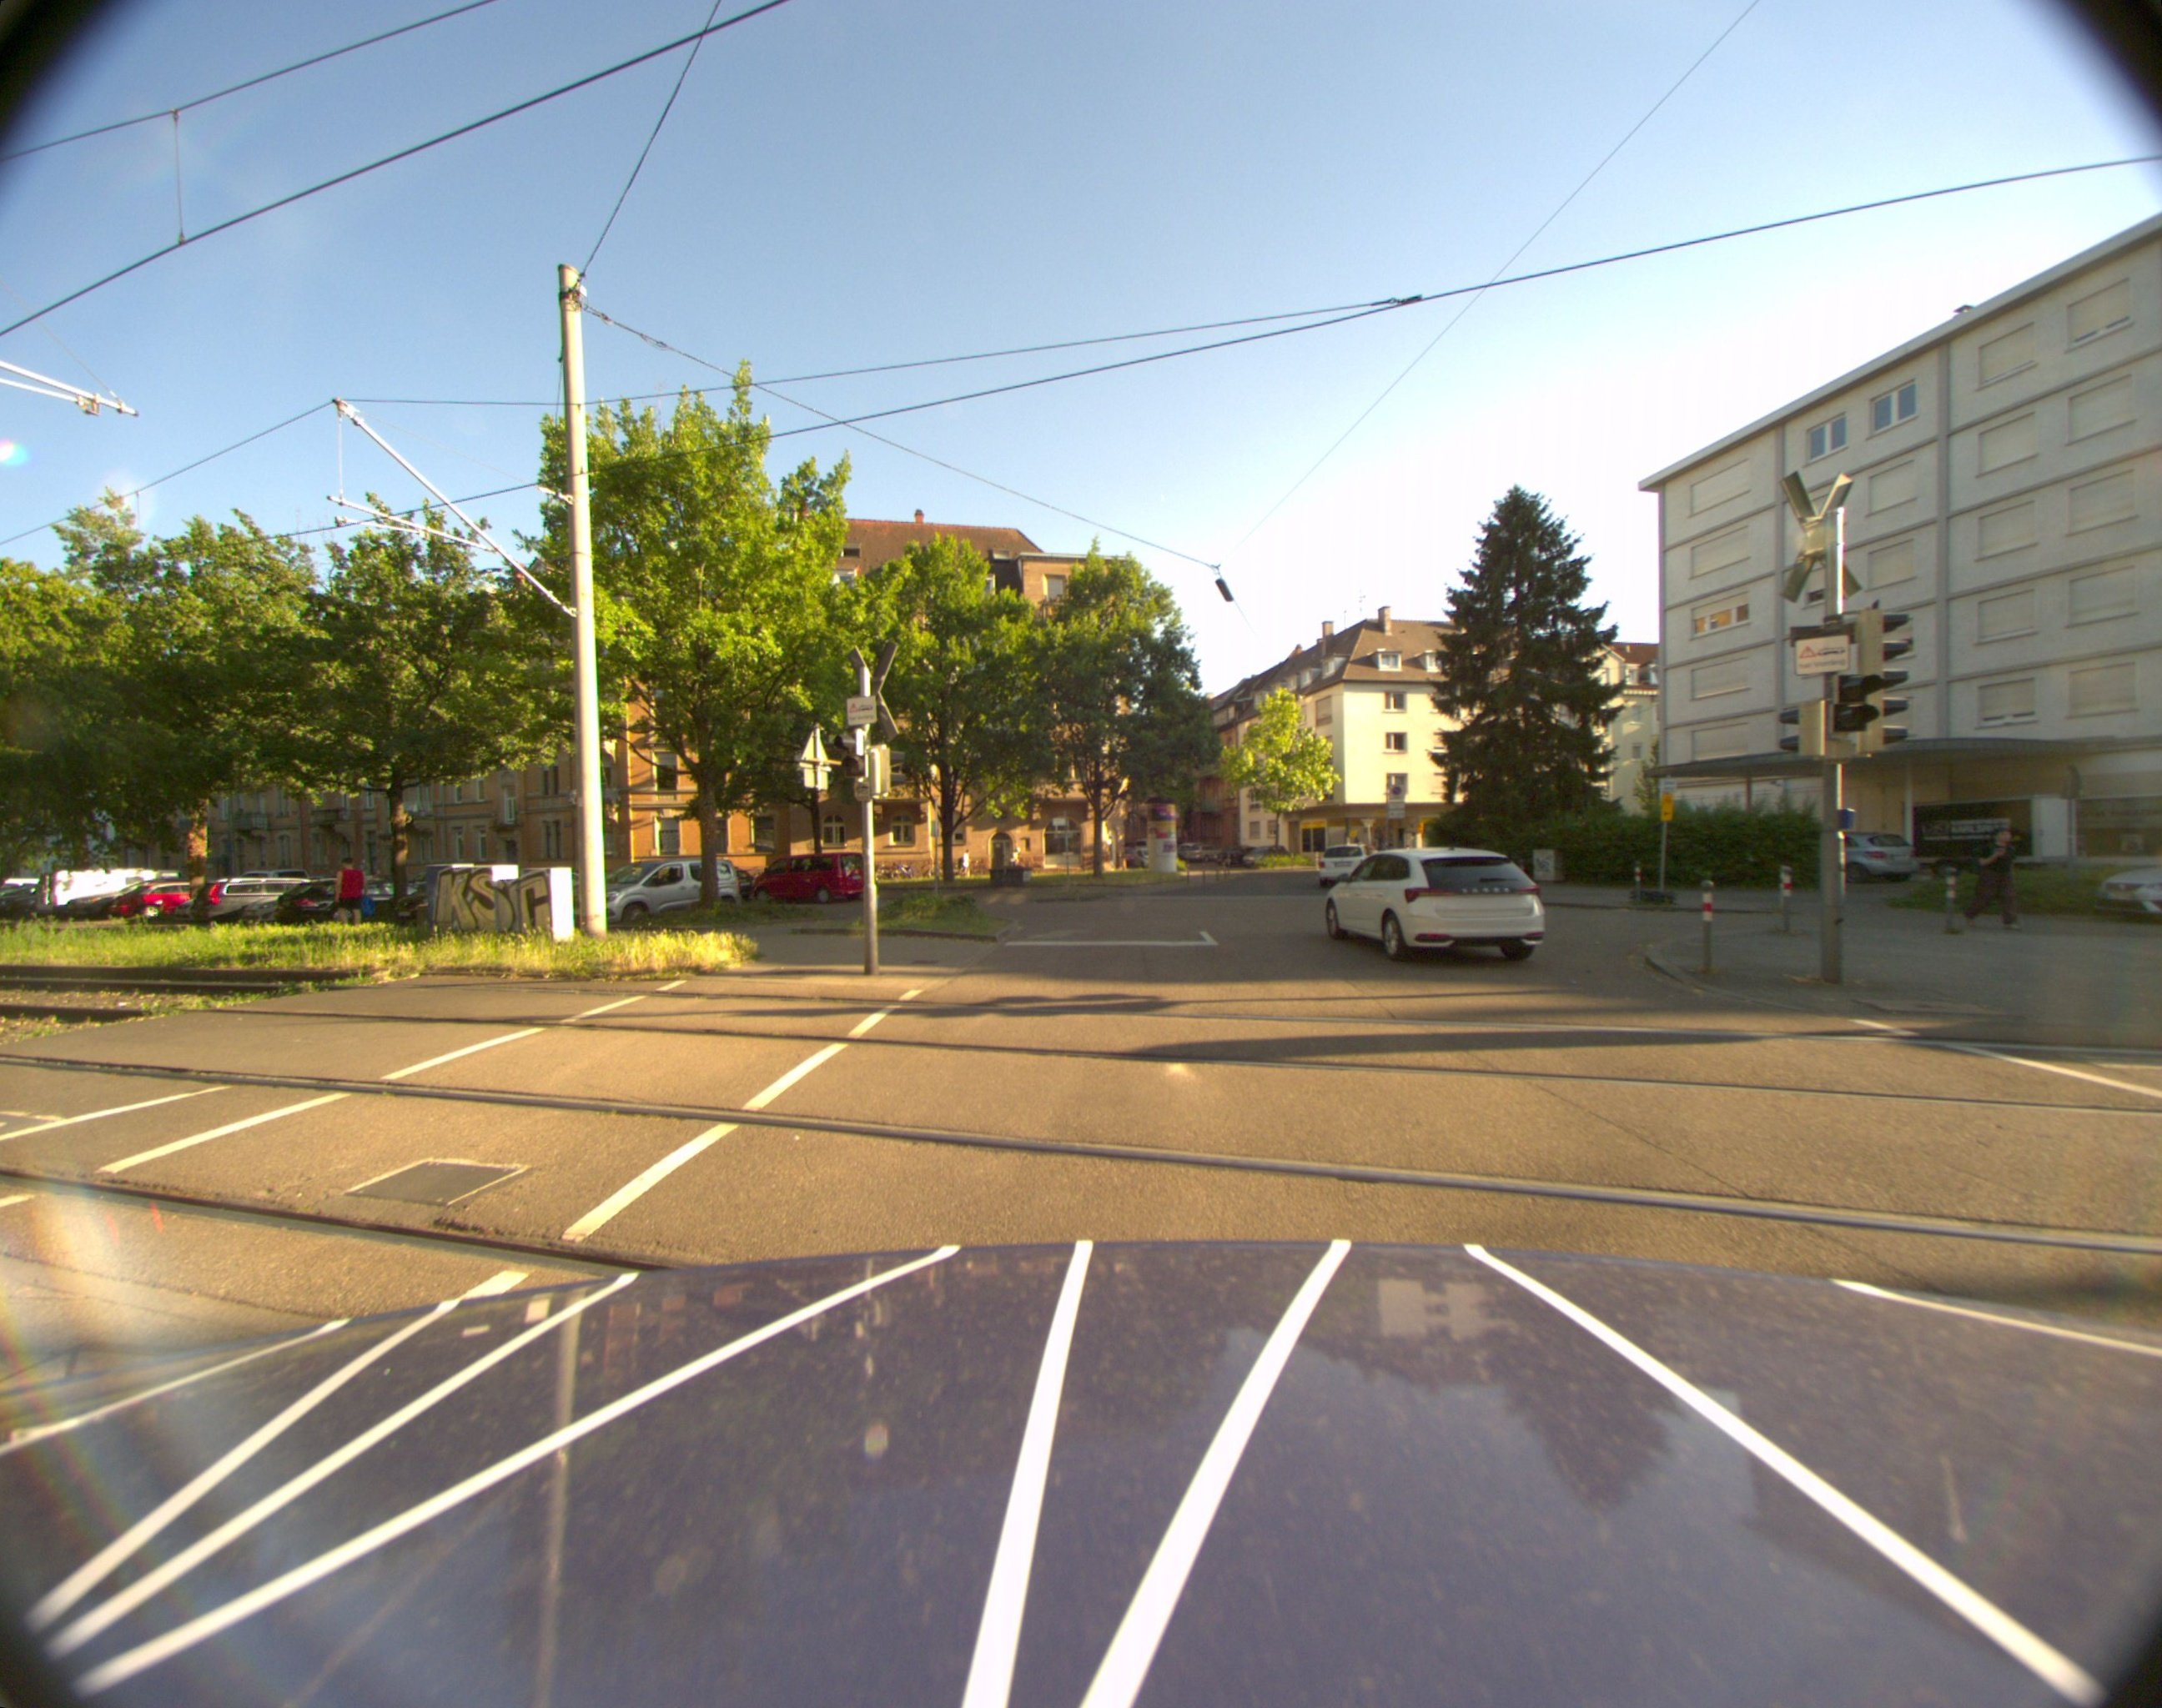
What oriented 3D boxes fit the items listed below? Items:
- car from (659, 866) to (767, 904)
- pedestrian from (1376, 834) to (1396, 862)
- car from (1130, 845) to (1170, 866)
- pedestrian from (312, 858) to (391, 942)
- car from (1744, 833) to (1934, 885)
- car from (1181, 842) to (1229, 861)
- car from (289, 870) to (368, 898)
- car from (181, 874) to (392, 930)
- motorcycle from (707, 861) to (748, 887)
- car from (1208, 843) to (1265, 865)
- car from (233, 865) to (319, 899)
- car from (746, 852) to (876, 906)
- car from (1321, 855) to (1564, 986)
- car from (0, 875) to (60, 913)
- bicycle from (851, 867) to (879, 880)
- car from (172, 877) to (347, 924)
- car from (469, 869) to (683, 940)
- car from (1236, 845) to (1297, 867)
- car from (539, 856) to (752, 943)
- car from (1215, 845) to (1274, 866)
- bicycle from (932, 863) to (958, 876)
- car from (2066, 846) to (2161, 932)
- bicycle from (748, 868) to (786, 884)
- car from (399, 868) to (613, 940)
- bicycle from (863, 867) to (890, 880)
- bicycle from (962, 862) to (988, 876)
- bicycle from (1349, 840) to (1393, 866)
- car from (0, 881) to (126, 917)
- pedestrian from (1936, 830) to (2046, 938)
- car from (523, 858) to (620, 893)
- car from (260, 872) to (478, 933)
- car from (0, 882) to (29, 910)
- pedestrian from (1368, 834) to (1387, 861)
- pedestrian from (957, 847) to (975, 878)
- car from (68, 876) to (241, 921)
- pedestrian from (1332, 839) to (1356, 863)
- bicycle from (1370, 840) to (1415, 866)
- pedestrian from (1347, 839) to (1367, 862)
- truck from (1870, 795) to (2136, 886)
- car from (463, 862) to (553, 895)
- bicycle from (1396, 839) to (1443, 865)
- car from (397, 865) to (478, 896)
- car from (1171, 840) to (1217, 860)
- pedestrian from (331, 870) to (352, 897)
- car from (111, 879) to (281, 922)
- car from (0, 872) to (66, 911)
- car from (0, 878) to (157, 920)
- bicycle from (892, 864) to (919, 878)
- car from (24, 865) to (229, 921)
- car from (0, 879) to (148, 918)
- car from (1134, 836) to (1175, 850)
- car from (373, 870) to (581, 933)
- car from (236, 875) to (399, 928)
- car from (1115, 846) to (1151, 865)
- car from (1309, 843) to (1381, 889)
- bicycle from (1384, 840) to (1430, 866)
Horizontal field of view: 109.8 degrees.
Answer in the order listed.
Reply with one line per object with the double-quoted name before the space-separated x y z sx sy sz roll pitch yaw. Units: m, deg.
"car" -15.767 1.312 32.553 4.260 1.426 1.784 -1 3 25
"pedestrian" 20.977 -0.416 52.255 0.891 1.864 0.851 -2 1 -11
"car" 4.917 0.117 54.402 1.874 1.392 3.996 -2 1 -10
"pedestrian" -17.261 1.062 17.995 1.147 1.907 0.906 -1 1 23
"car" 24.497 0.131 24.789 2.000 1.524 3.997 -2 1 -8
"car" 10.615 -0.230 65.106 4.007 1.496 1.868 -2 1 -40
"car" -43.479 1.716 43.911 3.879 1.430 1.771 -1 3 23
"car" -27.801 1.593 26.816 1.995 1.563 4.723 0 1 25
"motorcycle" -19.742 1.090 42.477 1.899 1.345 0.809 -2 1 -13
"car" 12.160 -0.019 59.280 4.005 1.559 1.869 -2 1 -26
"car" -48.713 1.694 45.965 4.714 1.872 1.915 -1 3 23
"car" -10.718 0.977 30.126 4.761 1.923 1.784 -1 3 22
"car" 4.834 0.782 10.849 1.706 1.448 4.063 -1 0 3
"car" -54.840 2.032 38.106 1.680 1.821 4.006 -1 0 23
"bicycle" -12.528 1.133 44.017 1.511 0.728 0.368 -2 1 -13
"car" -30.008 1.665 27.917 1.680 1.452 4.006 -1 0 23
"car" -13.821 1.291 21.133 1.945 1.563 4.561 0 1 25
"car" 13.131 0.137 53.748 4.005 1.392 1.869 -2 1 -28
"car" -11.301 1.070 20.120 1.945 1.903 4.561 0 1 25
"car" 12.030 0.076 55.962 4.005 1.392 1.869 -2 1 -28
"bicycle" -8.109 0.927 45.230 1.511 0.728 0.368 -2 1 -13
"car" 20.526 0.558 13.130 3.991 1.437 1.718 -1 0 18
"bicycle" -17.798 1.239 43.099 1.899 0.843 0.525 -2 1 -13
"car" -16.340 1.329 21.891 1.945 1.681 4.457 0 1 25
"bicycle" -11.782 1.115 43.790 1.511 0.728 0.368 -2 1 -13
"bicycle" -6.356 0.905 45.505 1.511 0.728 0.368 -3 2 -13
"bicycle" 17.021 -0.065 44.706 0.881 1.437 3.376 -2 2 -8
"car" -47.972 2.063 35.387 1.680 1.480 4.006 -1 0 23
"pedestrian" 15.220 0.473 12.745 0.869 1.726 0.832 -1 3 22
"car" -24.134 1.031 35.978 4.260 1.467 1.784 -1 3 25
"car" -22.887 1.467 24.686 1.995 1.563 4.723 0 1 25
"car" -59.741 2.301 40.468 1.680 1.480 4.006 -1 0 23
"pedestrian" 20.694 -0.446 53.093 0.891 1.864 0.851 -2 1 -11
"pedestrian" -6.427 0.455 42.507 0.912 1.708 0.675 -2 2 -10
"car" -36.920 1.724 30.421 1.762 1.571 4.006 -1 0 21
"pedestrian" 18.241 -0.212 52.737 1.215 1.657 0.963 -2 1 -11
"bicycle" 18.357 -0.072 44.864 0.881 1.437 3.376 -2 2 -8
"pedestrian" 19.415 -0.238 53.401 0.964 1.560 0.890 -2 1 -10
"truck" 28.561 -0.409 23.856 2.000 2.520 4.967 -2 1 -11
"car" -28.599 1.230 37.907 3.873 1.467 1.691 -1 3 21
"bicycle" 20.370 -0.145 45.832 0.881 1.437 3.375 -2 3 -8
"car" -33.940 1.411 40.064 3.700 1.467 1.691 -1 3 23
"car" 10.174 -0.381 68.272 4.007 1.626 1.868 -2 1 -40
"pedestrian" -48.097 1.929 49.428 0.720 1.709 0.676 -1 3 24
"car" -34.646 1.783 29.889 1.680 1.415 4.006 -1 0 23
"car" -52.773 1.837 36.794 1.680 1.821 4.006 -1 0 23
"car" -43.472 1.886 32.943 1.680 1.544 4.006 -1 0 23
"bicycle" -10.287 0.992 44.519 1.511 0.728 0.368 -2 1 -13
"car" -39.400 1.554 31.557 2.150 2.026 4.868 -1 0 23
"car" -45.585 1.973 34.321 1.680 1.480 4.006 -1 0 23
"car" 7.683 -1.167 79.197 4.007 1.392 1.868 -2 1 -40
"car" -18.302 1.356 23.323 1.945 1.563 4.561 0 1 25
"car" -25.373 1.532 25.368 1.714 1.505 3.415 -2 1 25
"car" 4.030 0.119 59.313 1.874 1.392 3.996 -2 1 -10
"car" 9.551 0.388 27.301 1.919 1.442 4.303 -2 0 26
"bicycle" 19.392 -0.103 45.269 0.881 1.437 3.376 -2 2 -8
